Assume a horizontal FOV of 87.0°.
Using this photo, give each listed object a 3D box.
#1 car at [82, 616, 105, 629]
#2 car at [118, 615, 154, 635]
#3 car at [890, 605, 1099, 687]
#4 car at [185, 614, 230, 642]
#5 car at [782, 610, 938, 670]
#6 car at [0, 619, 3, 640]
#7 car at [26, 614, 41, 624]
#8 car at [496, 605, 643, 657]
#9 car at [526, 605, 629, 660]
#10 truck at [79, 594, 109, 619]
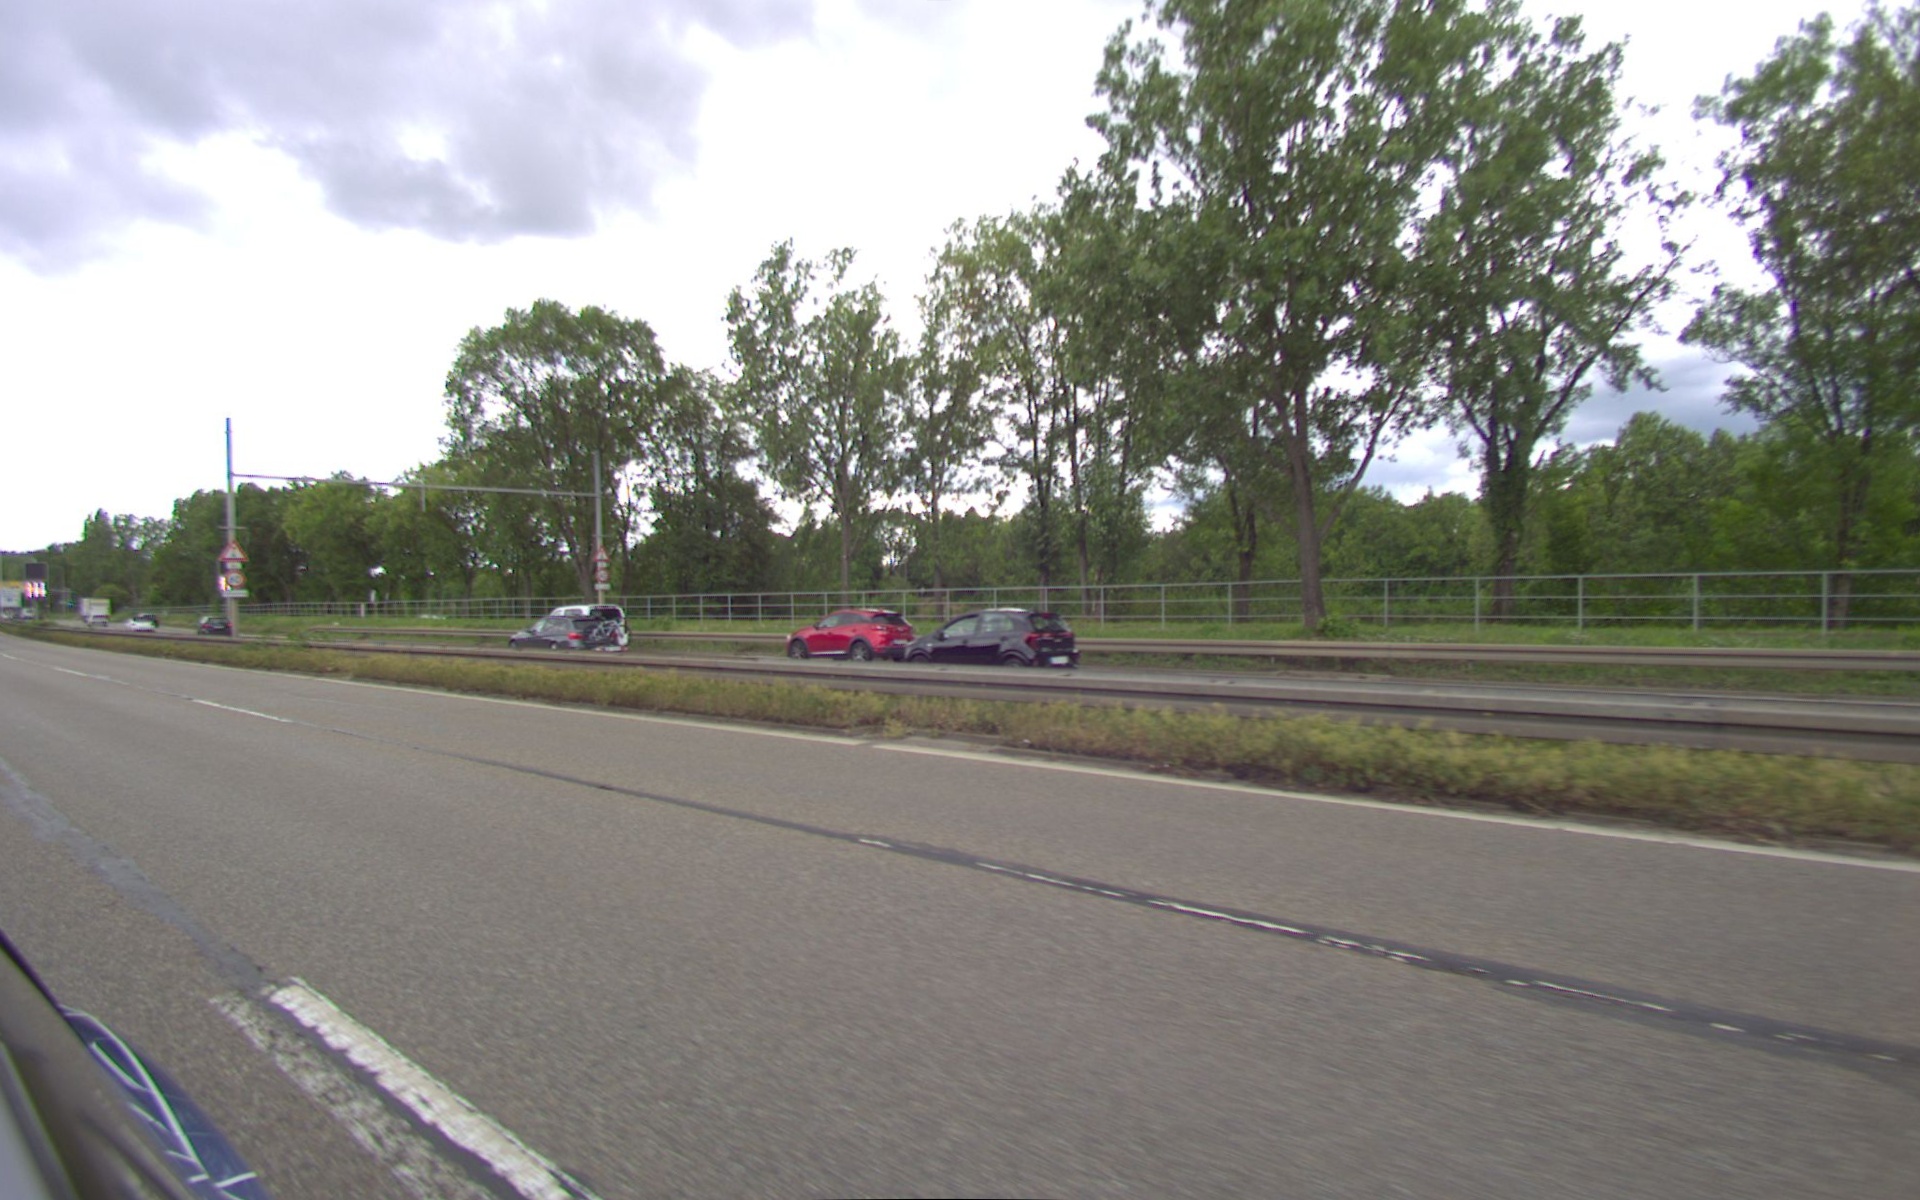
[{"bbox_3d":[-107.014,2.815,124.910,4.539,1.617,1.679,-2,-2,44],"label":"car"},{"bbox_3d":[-73.500,2.229,90.227,4.718,1.687,1.846,-2,-1,42],"label":"car"},{"bbox_3d":[0.610,0.844,19.681,3.910,1.435,1.643,-1,-1,41],"label":"car"},{"bbox_3d":[-48.569,1.792,65.330,3.742,1.788,1.707,-1,-1,43],"label":"car"},{"bbox_3d":[-2.779,1.052,27.505,4.378,1.476,1.700,-1,-1,41],"label":"car"},{"bbox_3d":[-81.503,2.549,84.608,4.146,1.738,1.858,-2,0,43],"label":"car"},{"bbox_3d":[-173.506,3.483,189.471,1.857,1.738,4.149,-2,0,-44],"label":"car"},{"bbox_3d":[-12.022,0.919,30.935,5.548,1.476,1.842,-1,-1,41],"label":"car"},{"bbox_3d":[-14.212,1.183,37.469,4.559,1.898,1.594,-1,-1,41],"label":"car"},{"bbox_3d":[-133.613,1.044,156.044,2.856,3.606,9.594,-1,0,-44],"label":"truck"}]
